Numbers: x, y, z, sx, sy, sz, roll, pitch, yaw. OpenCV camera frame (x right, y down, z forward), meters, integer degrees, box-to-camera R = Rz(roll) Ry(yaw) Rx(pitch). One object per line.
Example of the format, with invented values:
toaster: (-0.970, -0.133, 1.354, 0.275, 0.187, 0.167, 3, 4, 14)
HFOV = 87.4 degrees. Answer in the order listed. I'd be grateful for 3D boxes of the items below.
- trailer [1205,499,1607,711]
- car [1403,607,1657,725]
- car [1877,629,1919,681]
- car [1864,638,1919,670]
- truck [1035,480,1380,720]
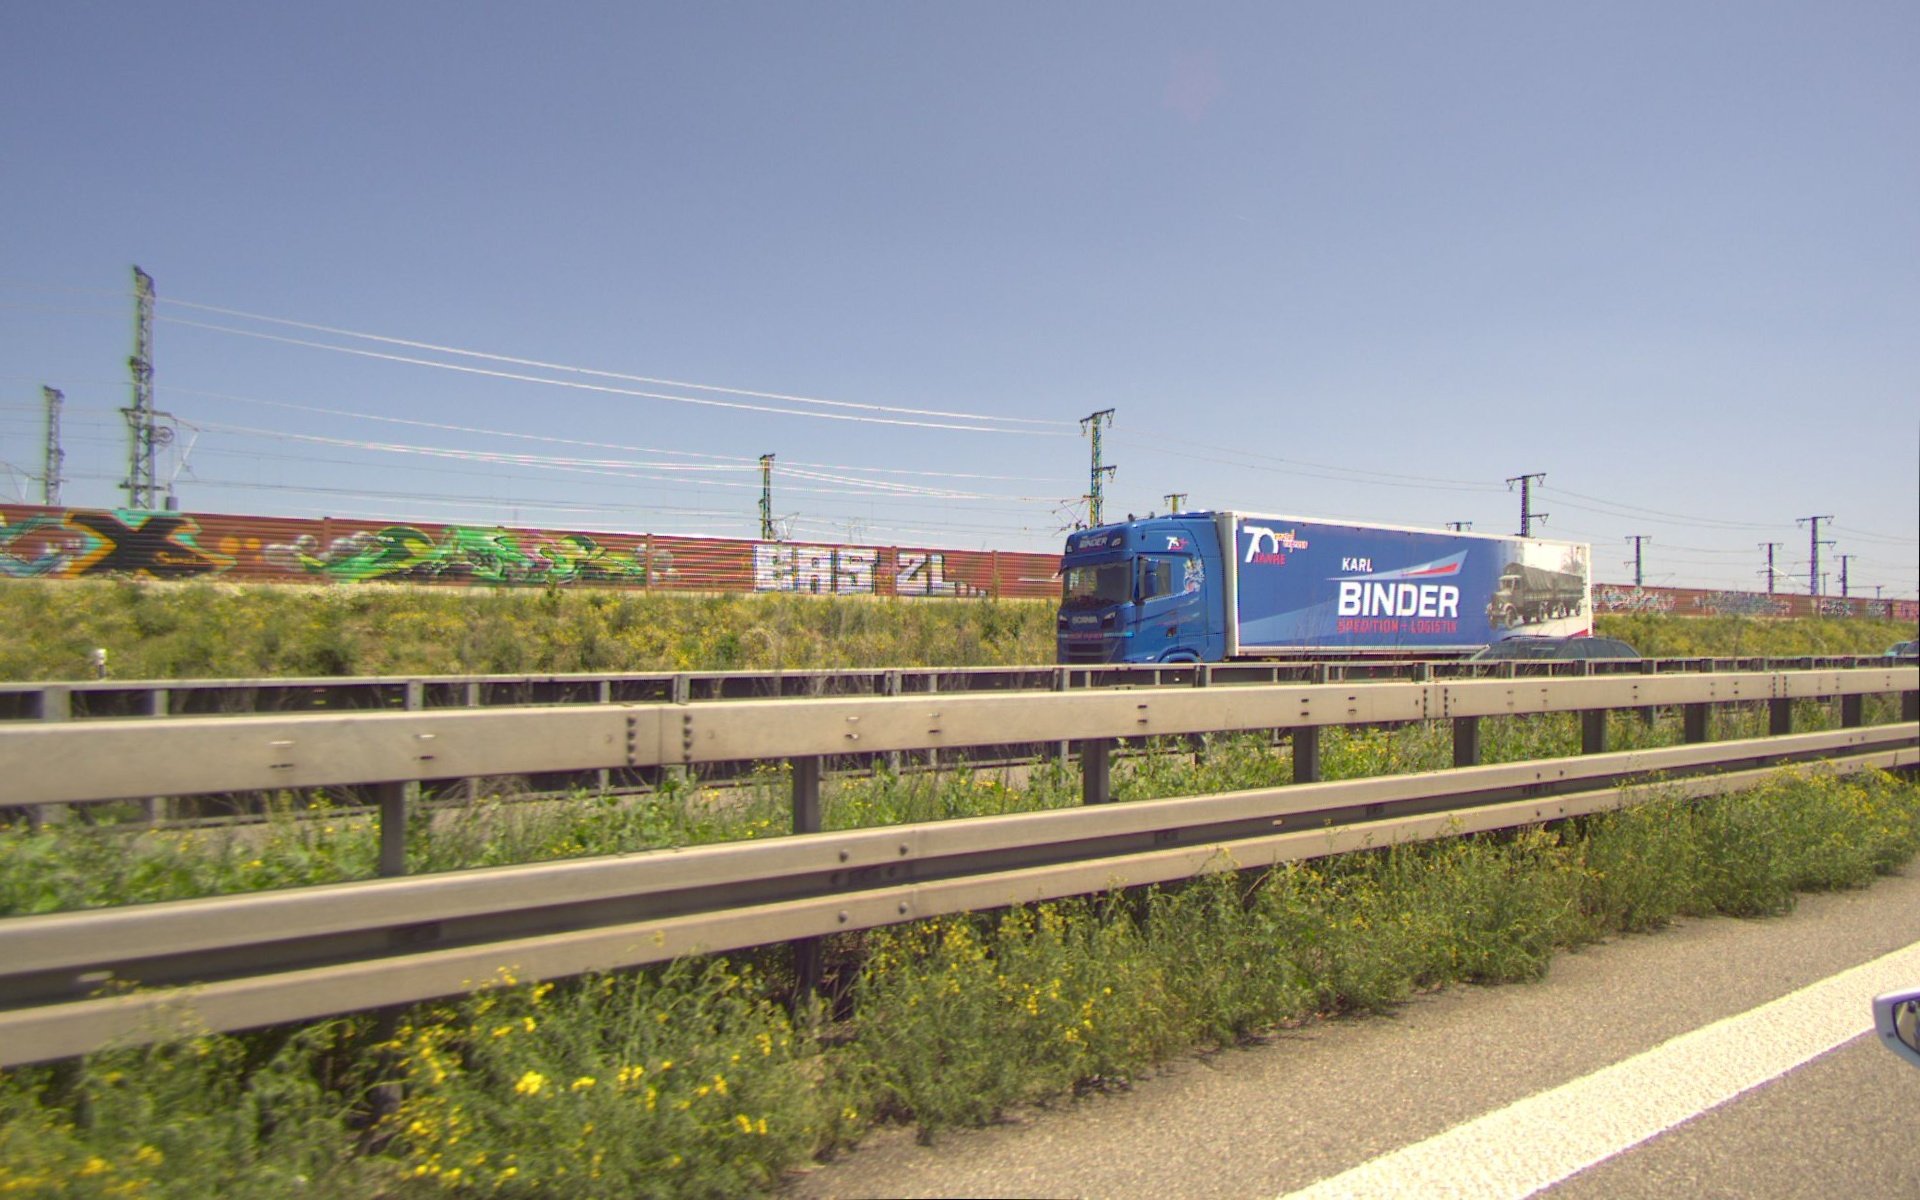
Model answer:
trailer: (11.636, 0.250, 25.426, 11.948, 4.465, 2.875, 1, -2, -30)
car: (9.316, 1.050, 16.350, 4.144, 1.655, 1.711, 3, 0, -30)
car: (33.250, 1.854, 34.204, 4.310, 1.669, 1.808, 1, -1, -30)
car: (47.732, 2.710, 50.925, 3.790, 1.539, 1.746, 1, -1, -30)
truck: (5.487, 0.095, 21.830, 7.414, 4.465, 2.875, 1, -2, -30)
